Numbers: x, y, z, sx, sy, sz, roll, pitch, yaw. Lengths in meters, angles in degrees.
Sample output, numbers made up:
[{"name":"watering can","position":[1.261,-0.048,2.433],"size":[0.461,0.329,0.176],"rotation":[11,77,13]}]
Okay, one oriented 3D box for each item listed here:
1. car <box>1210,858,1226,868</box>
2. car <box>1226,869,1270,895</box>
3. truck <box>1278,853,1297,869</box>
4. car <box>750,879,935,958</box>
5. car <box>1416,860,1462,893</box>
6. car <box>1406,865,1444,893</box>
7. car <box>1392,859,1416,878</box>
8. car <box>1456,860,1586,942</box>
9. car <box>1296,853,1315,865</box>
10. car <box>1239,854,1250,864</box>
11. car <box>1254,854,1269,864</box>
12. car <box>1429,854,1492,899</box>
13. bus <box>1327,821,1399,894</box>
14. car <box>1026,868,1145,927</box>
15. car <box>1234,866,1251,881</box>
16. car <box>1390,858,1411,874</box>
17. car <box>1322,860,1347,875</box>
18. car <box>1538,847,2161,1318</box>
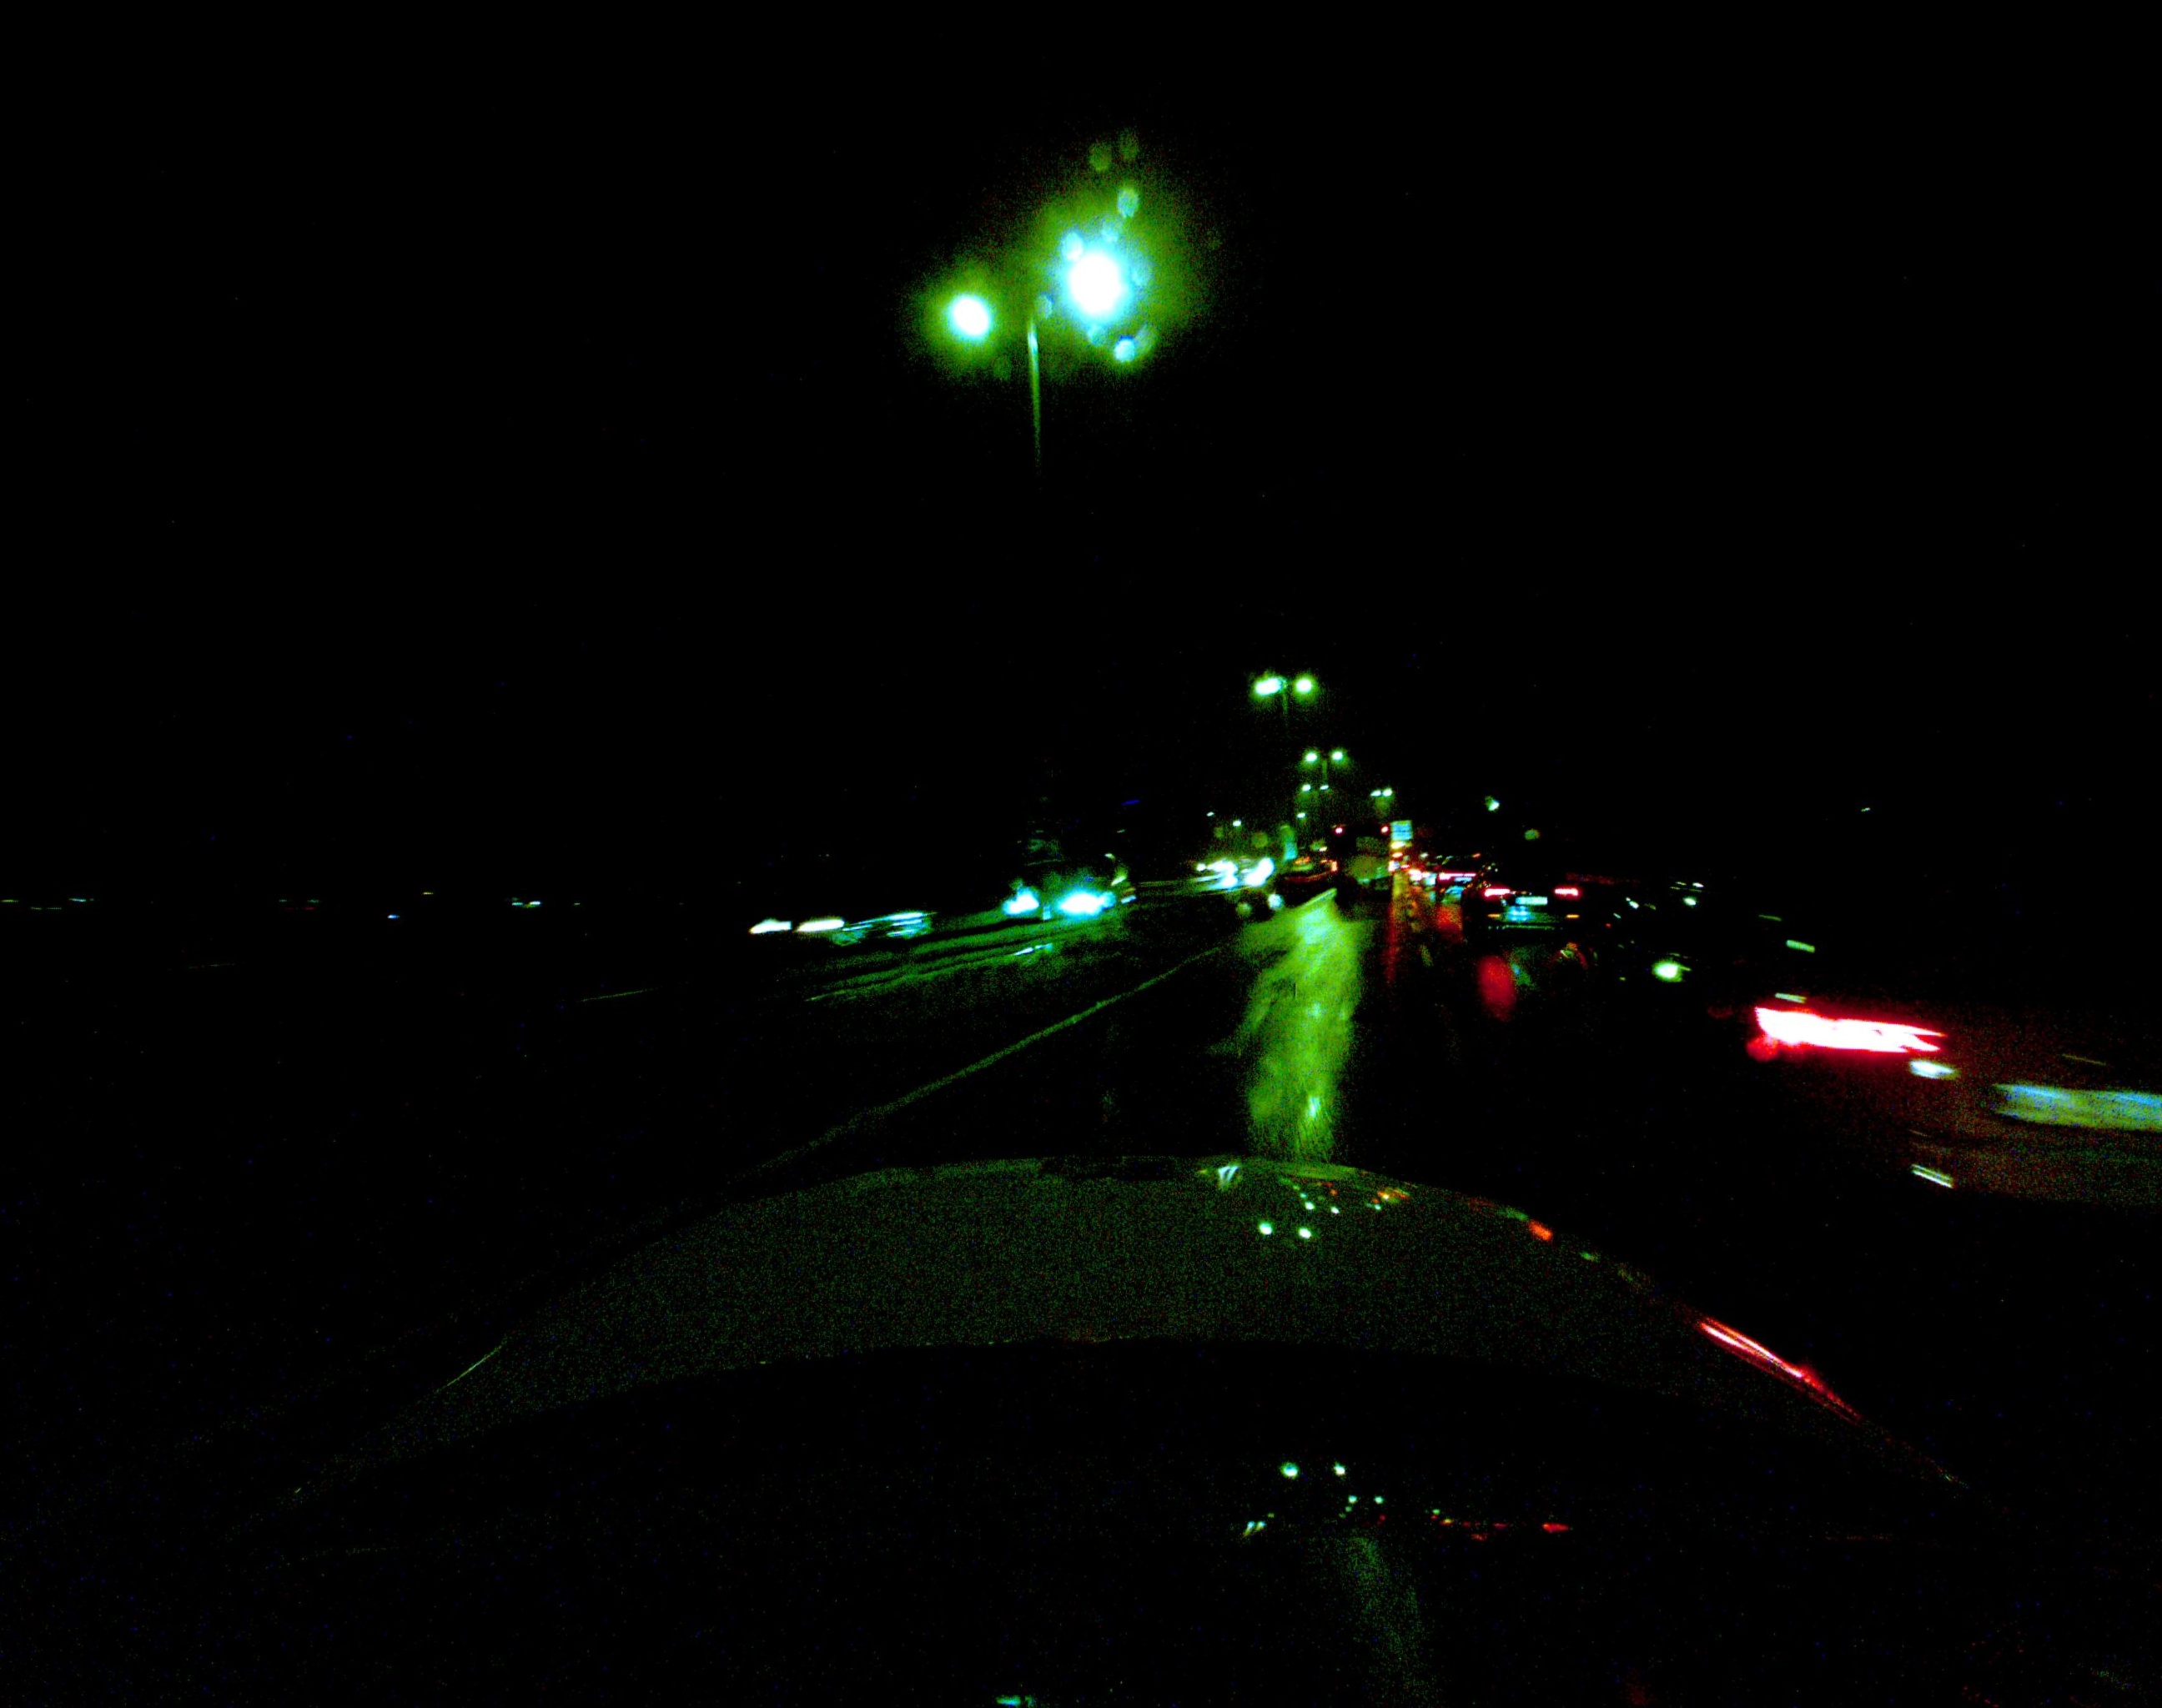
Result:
[{"name":"car","position":[27.659,1.846,164.619],"size":[1.995,2.014,3.982],"rotation":[0,-1,-13]},{"name":"car","position":[10.432,1.708,50.665],"size":[1.840,1.476,4.803],"rotation":[-2,-1,21]},{"name":"truck","position":[32.977,1.097,130.288],"size":[1.848,2.393,4.782],"rotation":[-3,2,2]},{"name":"car","position":[-5.099,1.354,18.036],"size":[1.596,1.382,4.186],"rotation":[-4,-2,22]},{"name":"car","position":[18.517,1.118,42.301],"size":[1.805,1.590,3.794],"rotation":[-3,-1,19]},{"name":"car","position":[21.096,1.498,50.110],"size":[1.805,1.590,3.794],"rotation":[-3,-1,19]},{"name":"car","position":[28.440,1.263,71.788],"size":[1.764,1.543,3.894],"rotation":[-1,-1,20]},{"name":"car","position":[9.005,0.868,17.050],"size":[1.717,1.449,4.748],"rotation":[-1,-1,20]},{"name":"car","position":[36.063,0.811,130.879],"size":[1.985,2.014,4.003],"rotation":[0,-1,3]},{"name":"car","position":[33.058,0.999,164.944],"size":[2.109,2.014,4.010],"rotation":[0,-1,9]},{"name":"car","position":[32.307,0.914,146.005],"size":[1.986,1.686,4.002],"rotation":[1,1,2]},{"name":"car","position":[14.126,0.805,30.507],"size":[1.725,1.565,3.794],"rotation":[-1,-1,19]},{"name":"bus","position":[13.316,0.197,38.233],"size":[2.792,3.024,8.730],"rotation":[-1,-1,20]},{"name":"car","position":[0.258,1.116,22.372],"size":[1.596,1.382,4.771],"rotation":[-2,-1,22]},{"name":"car","position":[22.251,2.676,112.391],"size":[1.978,2.014,4.016],"rotation":[-1,-1,16]},{"name":"car","position":[33.684,1.256,85.904],"size":[1.804,1.590,3.795],"rotation":[-3,-1,19]},{"name":"car","position":[36.207,1.878,116.332],"size":[2.204,2.014,3.998],"rotation":[-2,-1,-1]},{"name":"car","position":[4.073,0.746,4.794],"size":[1.806,1.484,4.592],"rotation":[-2,-1,22]}]
